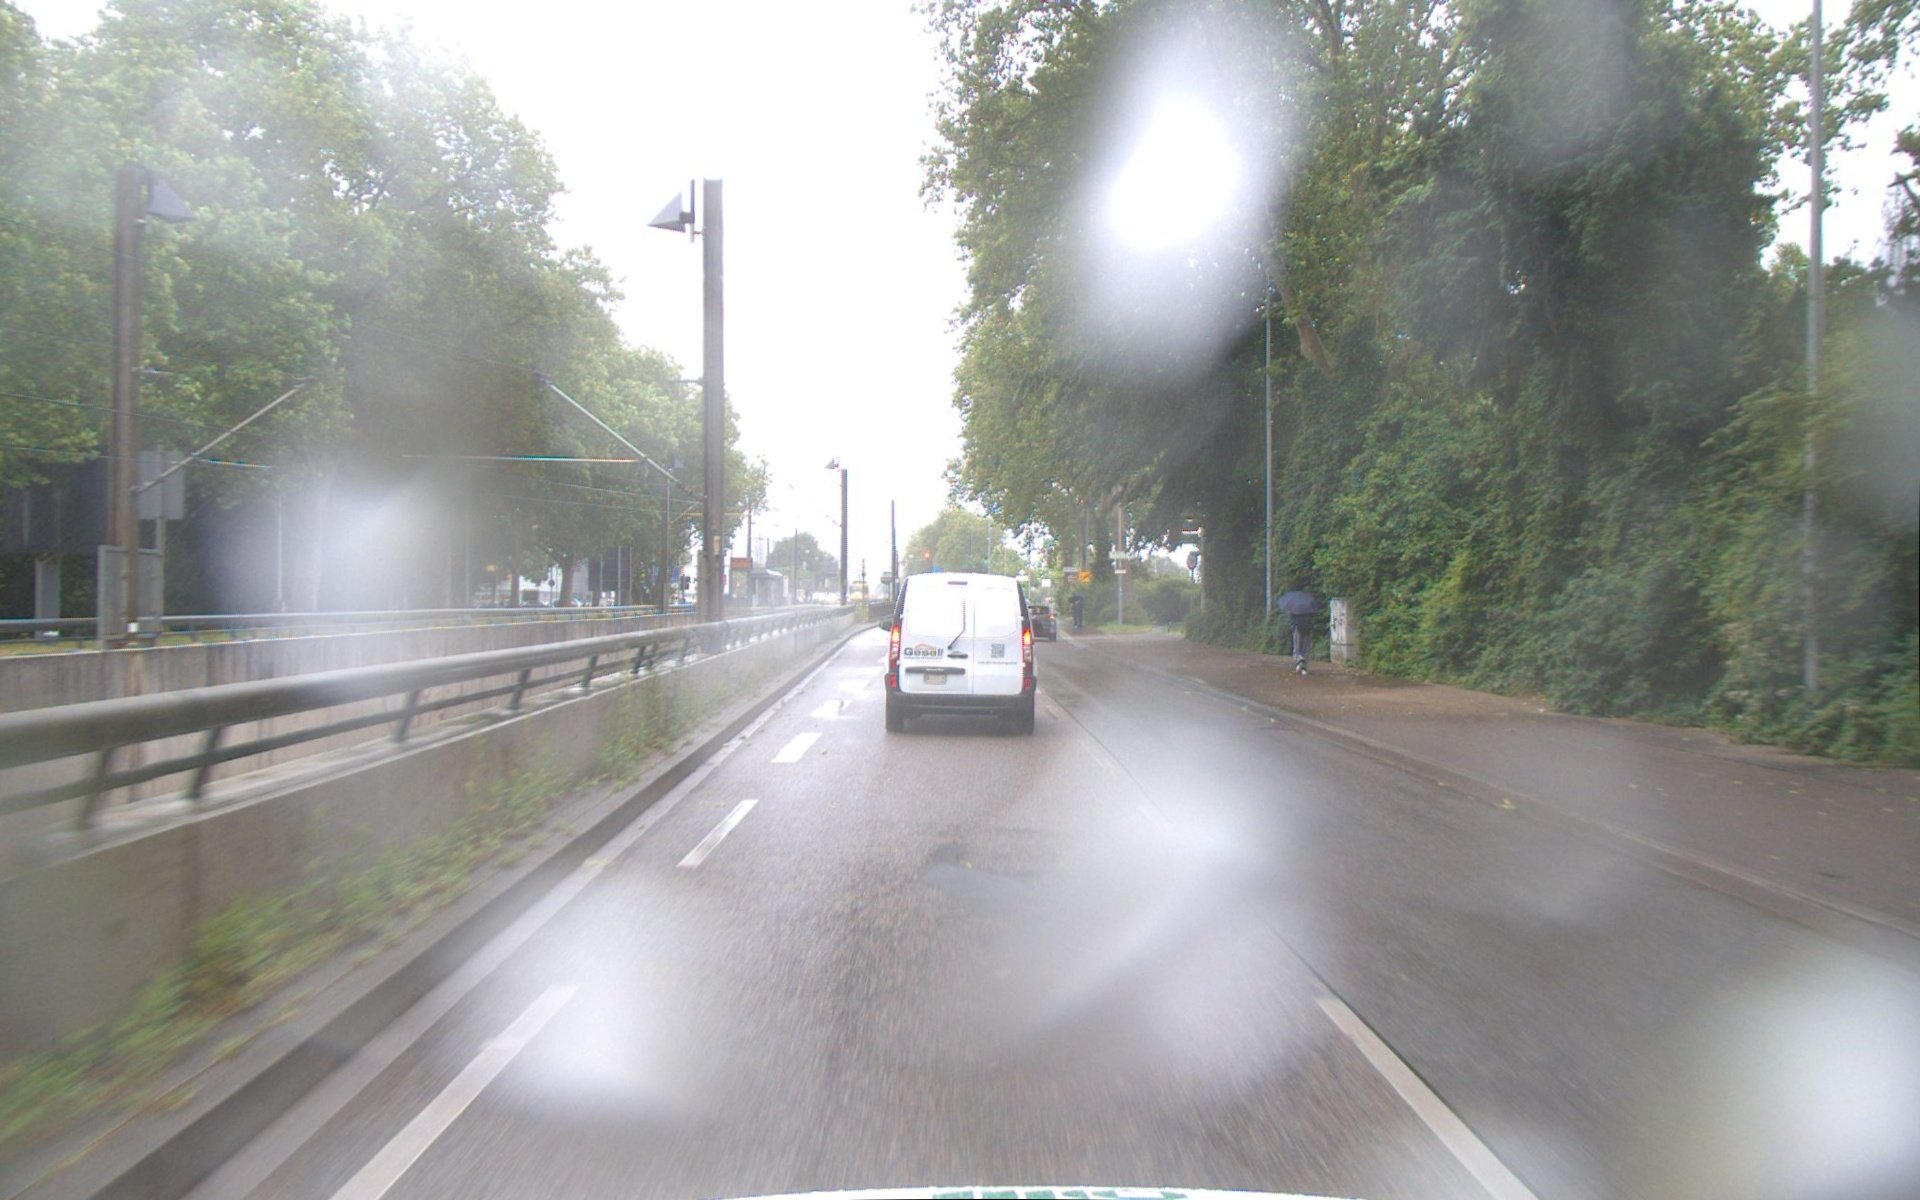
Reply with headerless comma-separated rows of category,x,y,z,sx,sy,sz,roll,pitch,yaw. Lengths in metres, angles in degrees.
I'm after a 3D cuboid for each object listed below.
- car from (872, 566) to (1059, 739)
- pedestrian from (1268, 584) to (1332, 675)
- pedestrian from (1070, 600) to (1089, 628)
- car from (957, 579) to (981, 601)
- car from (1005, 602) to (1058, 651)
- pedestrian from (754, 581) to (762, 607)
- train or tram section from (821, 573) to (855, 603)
car,-0.018,0.565,20.072,1.984,1.806,4.272,2,0,-2
pedestrian,6.686,0.563,32.568,0.947,1.732,1.140,2,0,-1
pedestrian,6.211,0.738,85.970,0.874,1.414,1.016,-2,0,1
car,0.778,-0.802,140.474,1.953,1.780,4.000,2,0,0
car,2.784,1.000,64.505,1.952,1.780,4.001,2,0,2
pedestrian,-16.575,-0.487,135.673,0.484,2.049,0.581,2,0,-12
train or tram section,-17.860,-1.665,244.215,3.694,4.107,27.083,2,0,-2
